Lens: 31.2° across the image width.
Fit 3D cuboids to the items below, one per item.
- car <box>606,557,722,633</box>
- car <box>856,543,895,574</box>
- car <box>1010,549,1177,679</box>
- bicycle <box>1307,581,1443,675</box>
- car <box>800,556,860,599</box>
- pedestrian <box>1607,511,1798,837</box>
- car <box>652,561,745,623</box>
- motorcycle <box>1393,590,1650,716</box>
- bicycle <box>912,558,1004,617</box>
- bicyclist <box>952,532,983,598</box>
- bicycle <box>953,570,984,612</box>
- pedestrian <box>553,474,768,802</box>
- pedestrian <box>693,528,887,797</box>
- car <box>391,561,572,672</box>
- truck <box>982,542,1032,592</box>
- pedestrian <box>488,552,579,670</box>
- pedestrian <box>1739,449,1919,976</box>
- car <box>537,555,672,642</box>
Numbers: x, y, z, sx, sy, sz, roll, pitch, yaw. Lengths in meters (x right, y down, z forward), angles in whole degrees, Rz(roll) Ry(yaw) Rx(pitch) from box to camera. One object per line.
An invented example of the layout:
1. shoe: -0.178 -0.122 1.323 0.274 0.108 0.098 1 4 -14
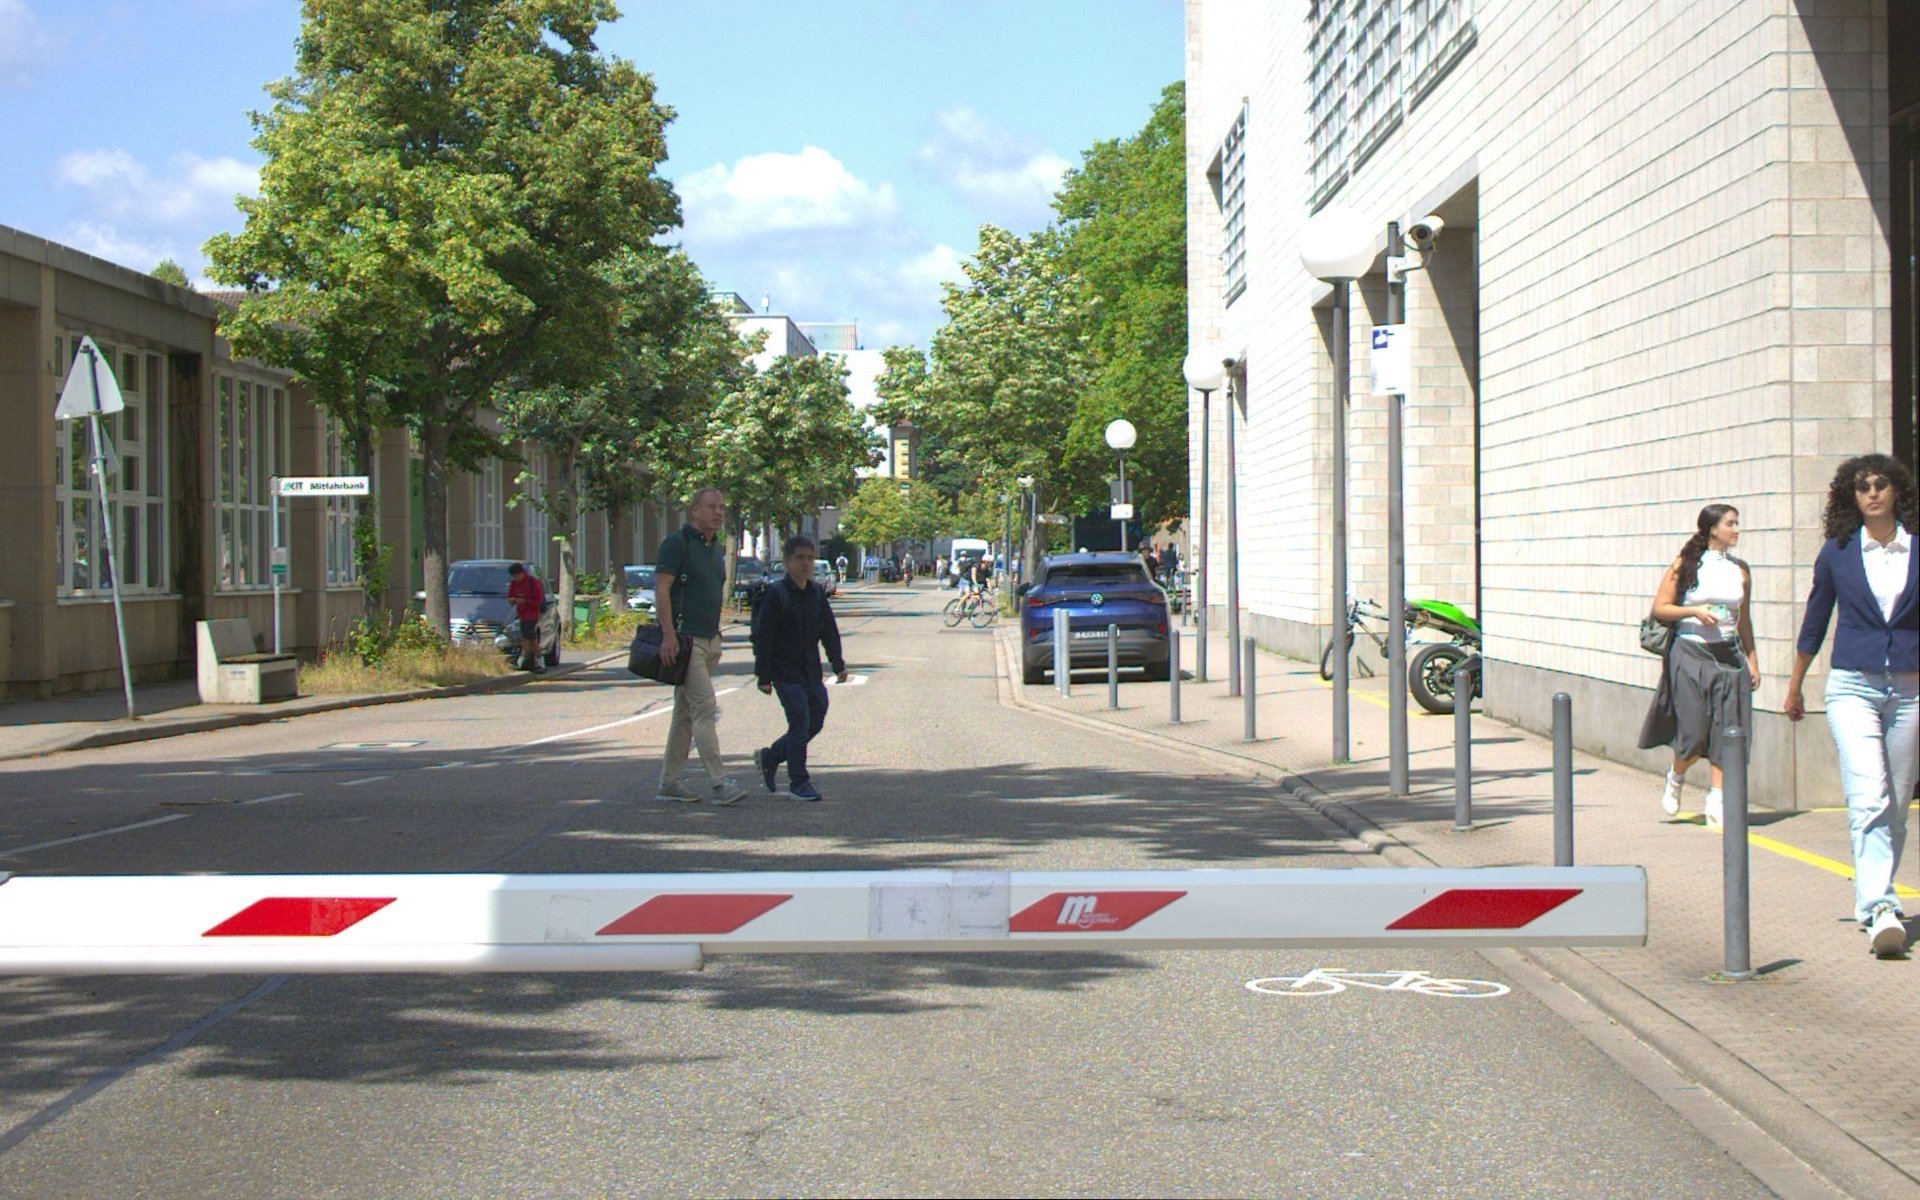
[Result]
1. car: -6.194 -0.128 72.356 1.993 1.540 4.212 0 1 1
2. car: -5.026 -2.487 205.009 1.994 1.714 3.999 -1 -1 3
3. car: 1.623 0.136 43.081 1.993 1.540 4.212 0 1 1
4. bicycle: 4.823 0.319 39.922 1.544 1.063 0.647 -1 1 9
5. car: -4.803 -0.845 127.082 1.993 1.540 4.212 0 1 1
6. pedestrian: 3.844 0.367 17.856 0.741 1.627 0.888 -2 1 -1
7. car: -6.683 -0.226 88.108 1.993 1.540 4.212 0 1 1
8. motorcycle: 4.932 0.469 30.268 2.123 1.019 0.660 -2 -1 2
9. bicycle: -0.060 -0.290 81.082 0.987 1.311 2.964 0 -1 -25
10. bicyclist: 0.243 -1.157 113.366 0.987 2.125 1.036 -1 -1 0
11. bicycle: 0.269 -0.301 113.369 0.987 1.311 2.964 -1 -1 0
12. pedestrian: -1.810 0.222 20.697 1.002 1.919 0.887 0 0 -30
13. pedestrian: -1.060 0.380 21.382 0.894 1.627 0.887 0 0 -30
14. car: -6.934 0.204 50.260 1.993 1.540 4.212 0 1 1
15. truck: 2.014 -1.400 147.990 1.993 2.007 4.000 -1 -1 -1
16. pedestrian: -5.956 0.147 47.994 0.896 1.627 0.885 0 0 44
17. pedestrian: 3.265 0.365 12.188 0.694 1.774 1.086 -2 1 -1
18. car: -6.540 -0.049 63.570 1.993 1.540 4.212 0 1 1
